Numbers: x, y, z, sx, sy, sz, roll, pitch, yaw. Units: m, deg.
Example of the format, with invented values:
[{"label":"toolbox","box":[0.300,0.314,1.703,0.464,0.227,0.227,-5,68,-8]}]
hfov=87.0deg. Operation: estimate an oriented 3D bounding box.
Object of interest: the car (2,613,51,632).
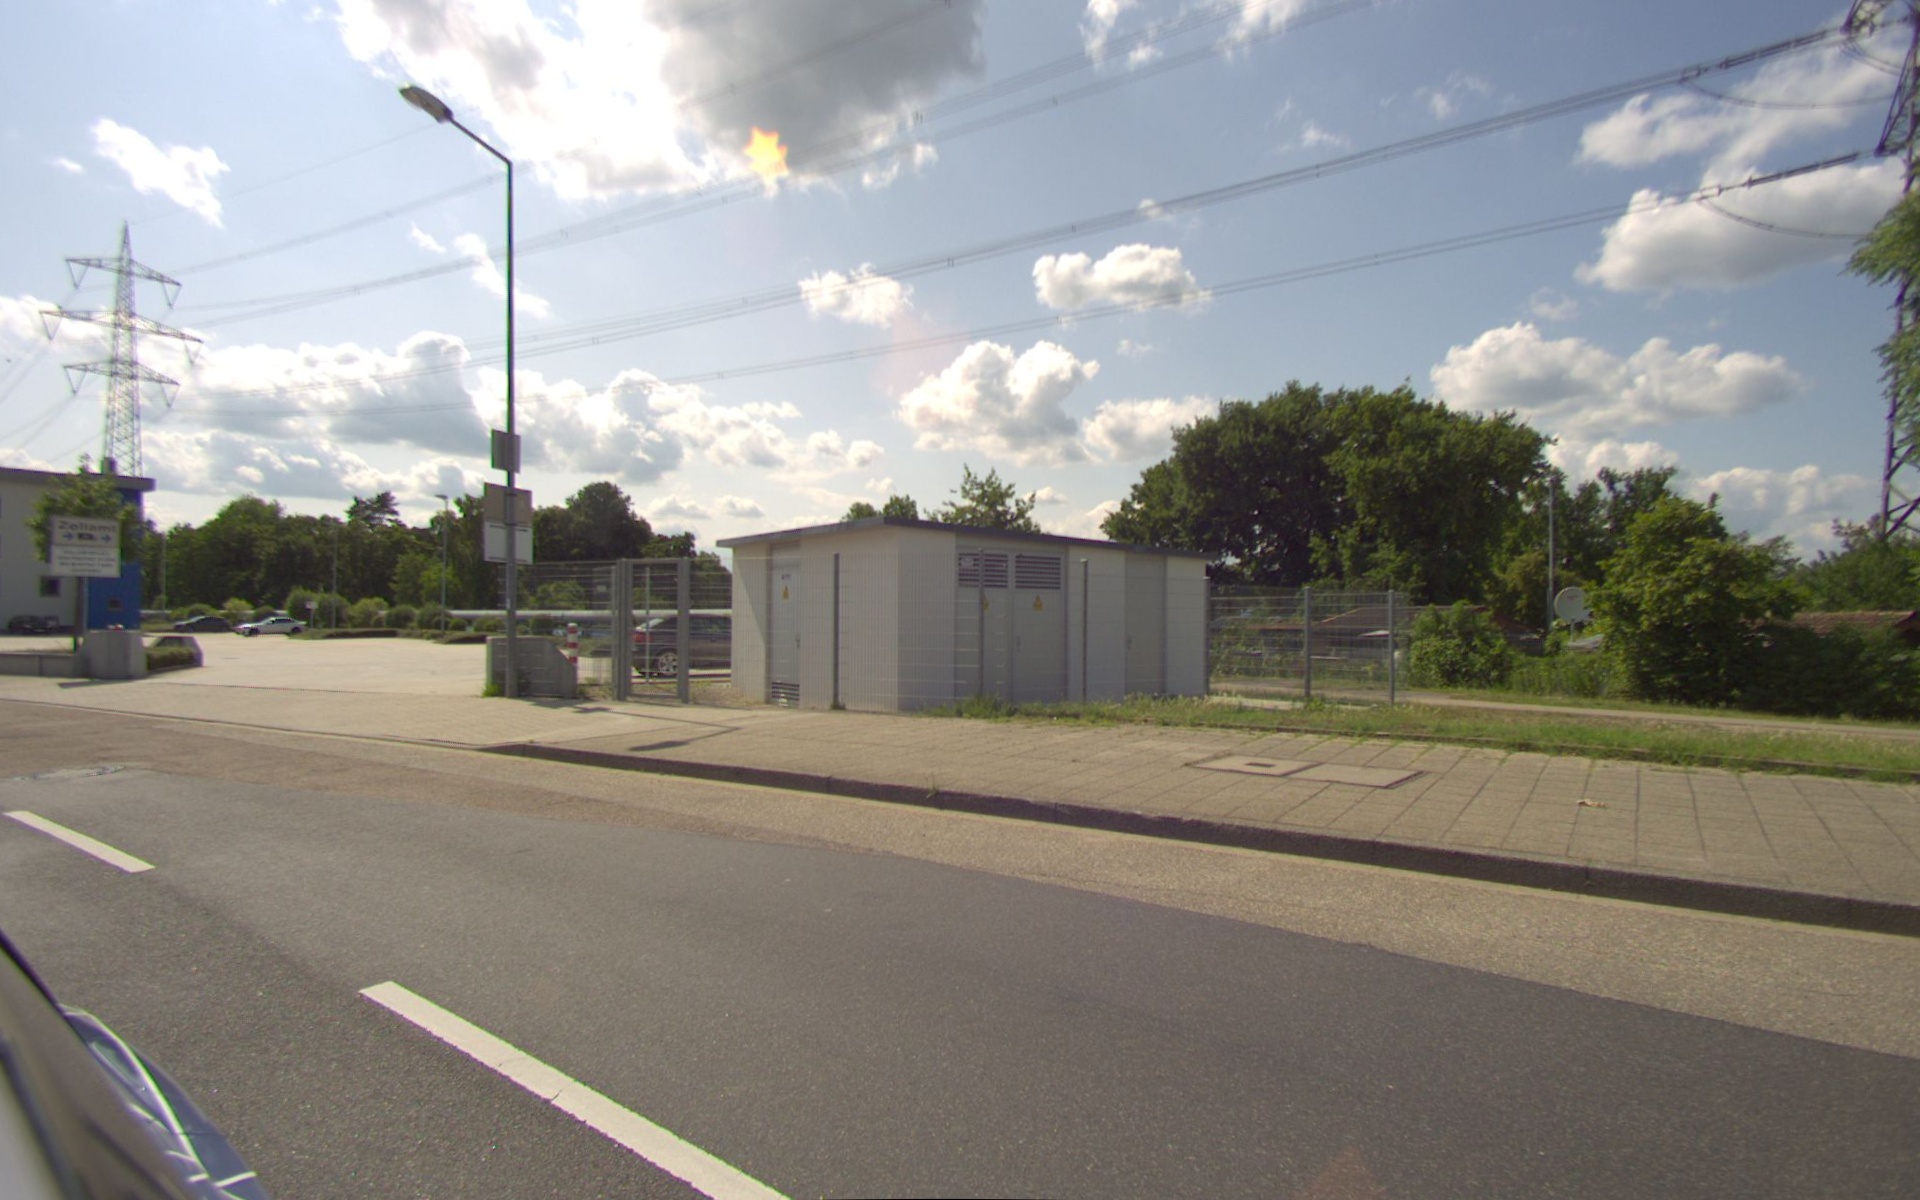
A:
[{"label":"car","box":[-70.610,1.714,76.549,3.663,1.386,1.552,0,-1,28]}]

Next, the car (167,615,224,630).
[{"label":"car","box":[-65.852,1.971,87.224,1.798,1.261,3.570,0,-1,32]}]

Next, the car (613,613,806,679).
[{"label":"car","box":[-5.718,1.007,23.195,3.932,1.388,1.809,1,-1,-32]}]

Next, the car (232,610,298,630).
[{"label":"car","box":[-52.469,1.525,76.439,1.800,1.485,3.778,0,-1,37]}]
